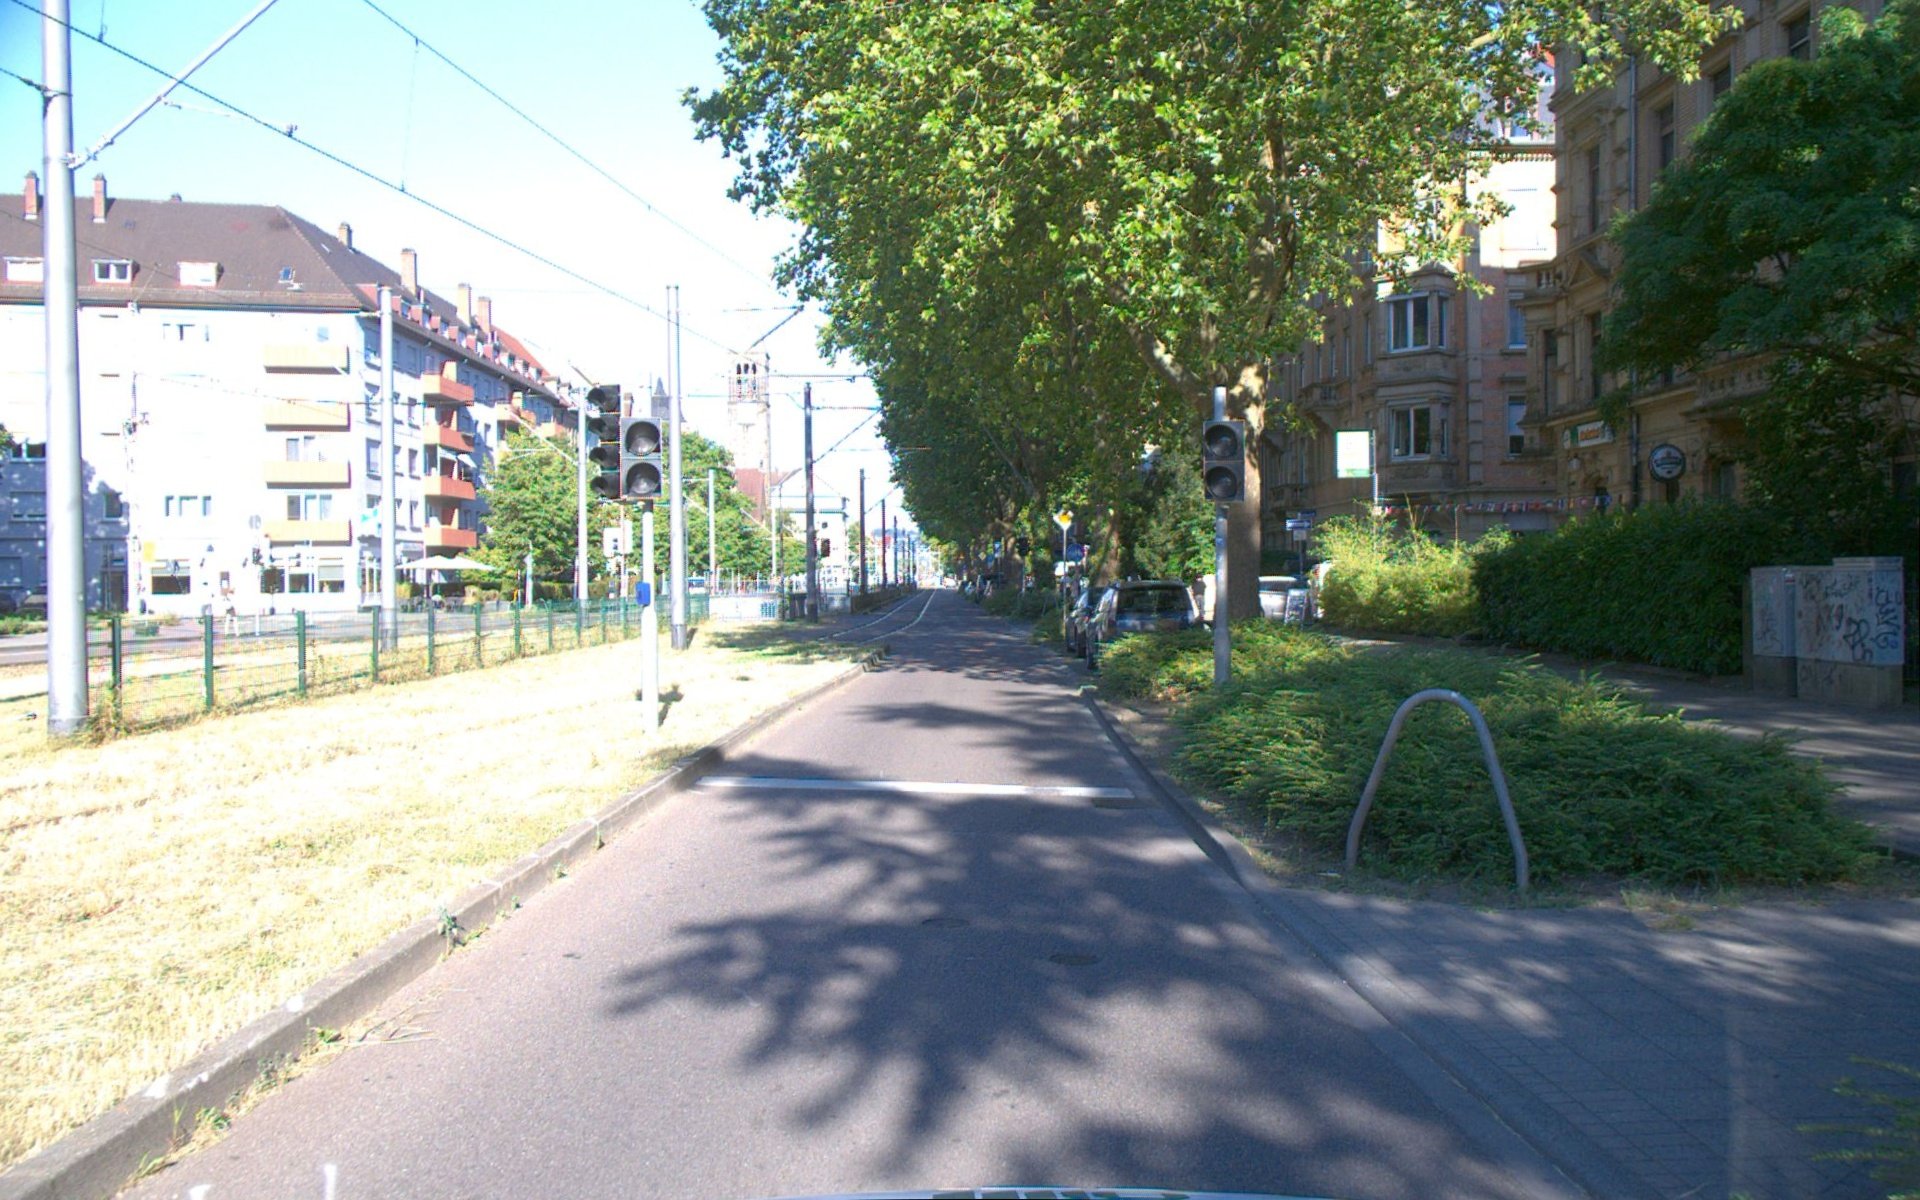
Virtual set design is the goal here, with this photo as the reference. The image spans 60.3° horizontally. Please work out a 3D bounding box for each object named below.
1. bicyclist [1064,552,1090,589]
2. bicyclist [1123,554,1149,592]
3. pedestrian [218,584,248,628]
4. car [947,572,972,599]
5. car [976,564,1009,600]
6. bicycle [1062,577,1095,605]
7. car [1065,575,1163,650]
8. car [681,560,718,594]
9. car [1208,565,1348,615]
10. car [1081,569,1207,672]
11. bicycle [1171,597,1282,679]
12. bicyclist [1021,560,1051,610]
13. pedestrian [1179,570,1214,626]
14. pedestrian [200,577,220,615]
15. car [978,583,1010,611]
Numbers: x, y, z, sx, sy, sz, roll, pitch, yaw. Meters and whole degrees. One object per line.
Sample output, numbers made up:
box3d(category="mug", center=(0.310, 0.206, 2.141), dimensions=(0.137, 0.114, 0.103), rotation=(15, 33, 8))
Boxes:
box3d(category="bicyclist", center=(4.720, -1.210, 66.574), dimensions=(0.798, 1.429, 1.079), rotation=(-2, 3, -9))
box3d(category="bicyclist", center=(6.847, -1.052, 64.360), dimensions=(0.798, 1.429, 0.823), rotation=(-2, 3, -9))
box3d(category="pedestrian", center=(-25.339, 0.201, 57.656), dimensions=(0.674, 1.493, 0.591), rotation=(-1, 3, 3))
box3d(category="car", center=(-0.028, -1.176, 137.072), dimensions=(1.953, 2.144, 4.000), rotation=(2, 0, 0))
box3d(category="car", center=(2.040, -1.114, 104.559), dimensions=(1.953, 2.144, 4.000), rotation=(2, 0, 0))
box3d(category="bicycle", center=(4.753, -0.378, 66.502), dimensions=(0.798, 0.973, 2.313), rotation=(-2, 3, -9))
box3d(category="car", center=(3.112, 0.215, 34.142), dimensions=(1.610, 1.397, 4.183), rotation=(-1, 1, 0))
box3d(category="car", center=(-17.385, -1.578, 110.489), dimensions=(1.954, 2.048, 3.999), rotation=(-2, 3, -4))
box3d(category="car", center=(9.867, -0.320, 51.560), dimensions=(3.908, 1.445, 1.999), rotation=(-1, 1, -4))
box3d(category="car", center=(2.984, 0.275, 27.527), dimensions=(1.610, 1.537, 4.183), rotation=(-1, 1, 0))
box3d(category="bicycle", center=(3.813, 0.531, 23.595), dimensions=(1.580, 1.043, 0.537), rotation=(-3, 4, -31))
box3d(category="bicyclist", center=(3.034, -0.602, 66.108), dimensions=(1.118, 1.923, 0.682), rotation=(-1, 3, -1))
box3d(category="pedestrian", center=(7.594, -0.081, 53.168), dimensions=(0.798, 1.718, 1.079), rotation=(-2, 3, -9))
box3d(category="pedestrian", center=(-30.099, -0.166, 66.363), dimensions=(0.583, 1.493, 0.907), rotation=(-3, 4, -30))
box3d(category="car", center=(1.958, -0.141, 95.738), dimensions=(1.757, 1.537, 4.000), rotation=(2, 0, 0))
